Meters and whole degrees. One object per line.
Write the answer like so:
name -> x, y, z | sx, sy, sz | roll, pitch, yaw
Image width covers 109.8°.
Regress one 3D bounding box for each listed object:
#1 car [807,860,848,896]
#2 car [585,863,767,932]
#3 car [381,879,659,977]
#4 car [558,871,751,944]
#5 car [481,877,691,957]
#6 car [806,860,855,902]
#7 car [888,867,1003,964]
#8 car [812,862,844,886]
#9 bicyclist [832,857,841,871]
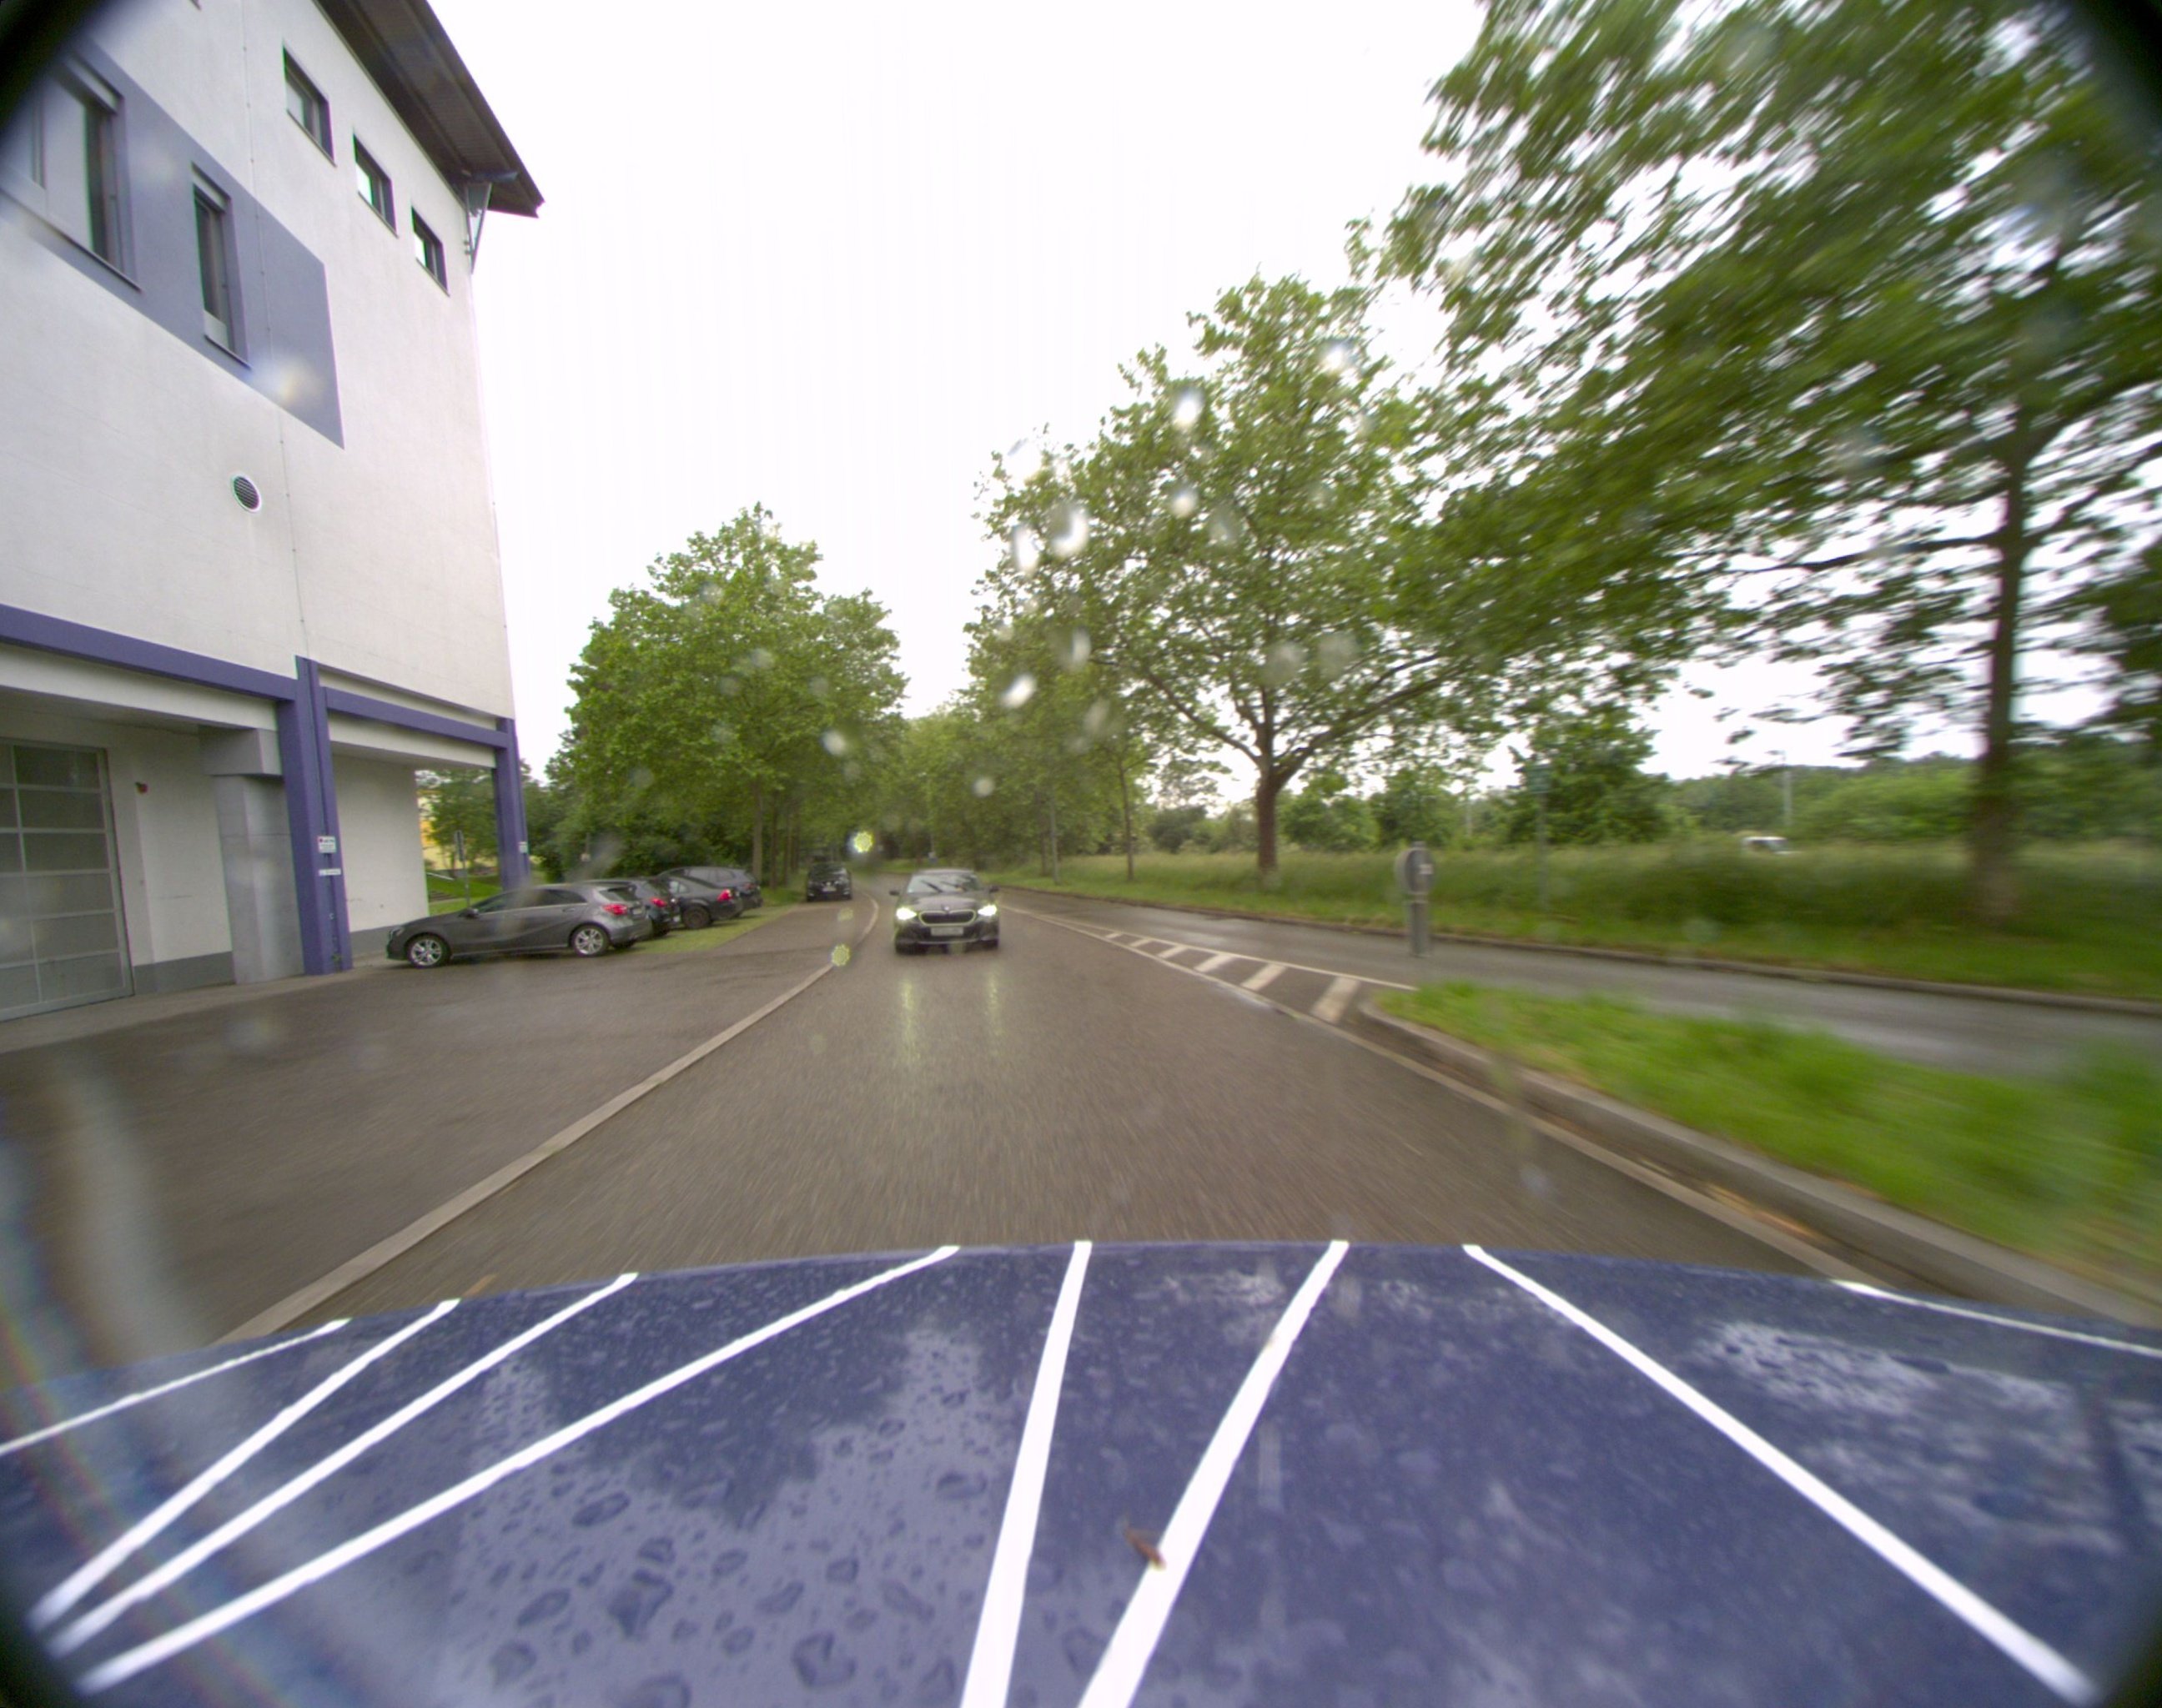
car -> -12.277, 1.108, 36.806 | 1.735, 1.582, 4.246 | -2, 1, -19
car -> -12.027, 1.257, 22.888 | 4.487, 1.670, 1.765 | -4, 0, -17
car -> -10.831, 1.376, 14.978 | 3.952, 1.445, 1.719 | -4, 2, -12
car -> -11.208, 1.355, 20.297 | 4.122, 1.470, 1.719 | -4, 2, -17
car -> -11.293, 1.395, 17.596 | 3.629, 1.444, 1.719 | -4, 0, -14
car -> -10.793, 1.103, 32.794 | 1.808, 1.593, 4.364 | -2, 1, -18
car -> -2.652, 1.072, 15.257 | 1.845, 1.486, 4.898 | -2, 0, -9
car -> -16.361, 1.248, 49.166 | 1.804, 1.364, 3.738 | -2, 1, -19
bicyclist -> -27.433, 1.098, 85.349 | 0.699, 1.489, 0.798 | -5, 2, -26
